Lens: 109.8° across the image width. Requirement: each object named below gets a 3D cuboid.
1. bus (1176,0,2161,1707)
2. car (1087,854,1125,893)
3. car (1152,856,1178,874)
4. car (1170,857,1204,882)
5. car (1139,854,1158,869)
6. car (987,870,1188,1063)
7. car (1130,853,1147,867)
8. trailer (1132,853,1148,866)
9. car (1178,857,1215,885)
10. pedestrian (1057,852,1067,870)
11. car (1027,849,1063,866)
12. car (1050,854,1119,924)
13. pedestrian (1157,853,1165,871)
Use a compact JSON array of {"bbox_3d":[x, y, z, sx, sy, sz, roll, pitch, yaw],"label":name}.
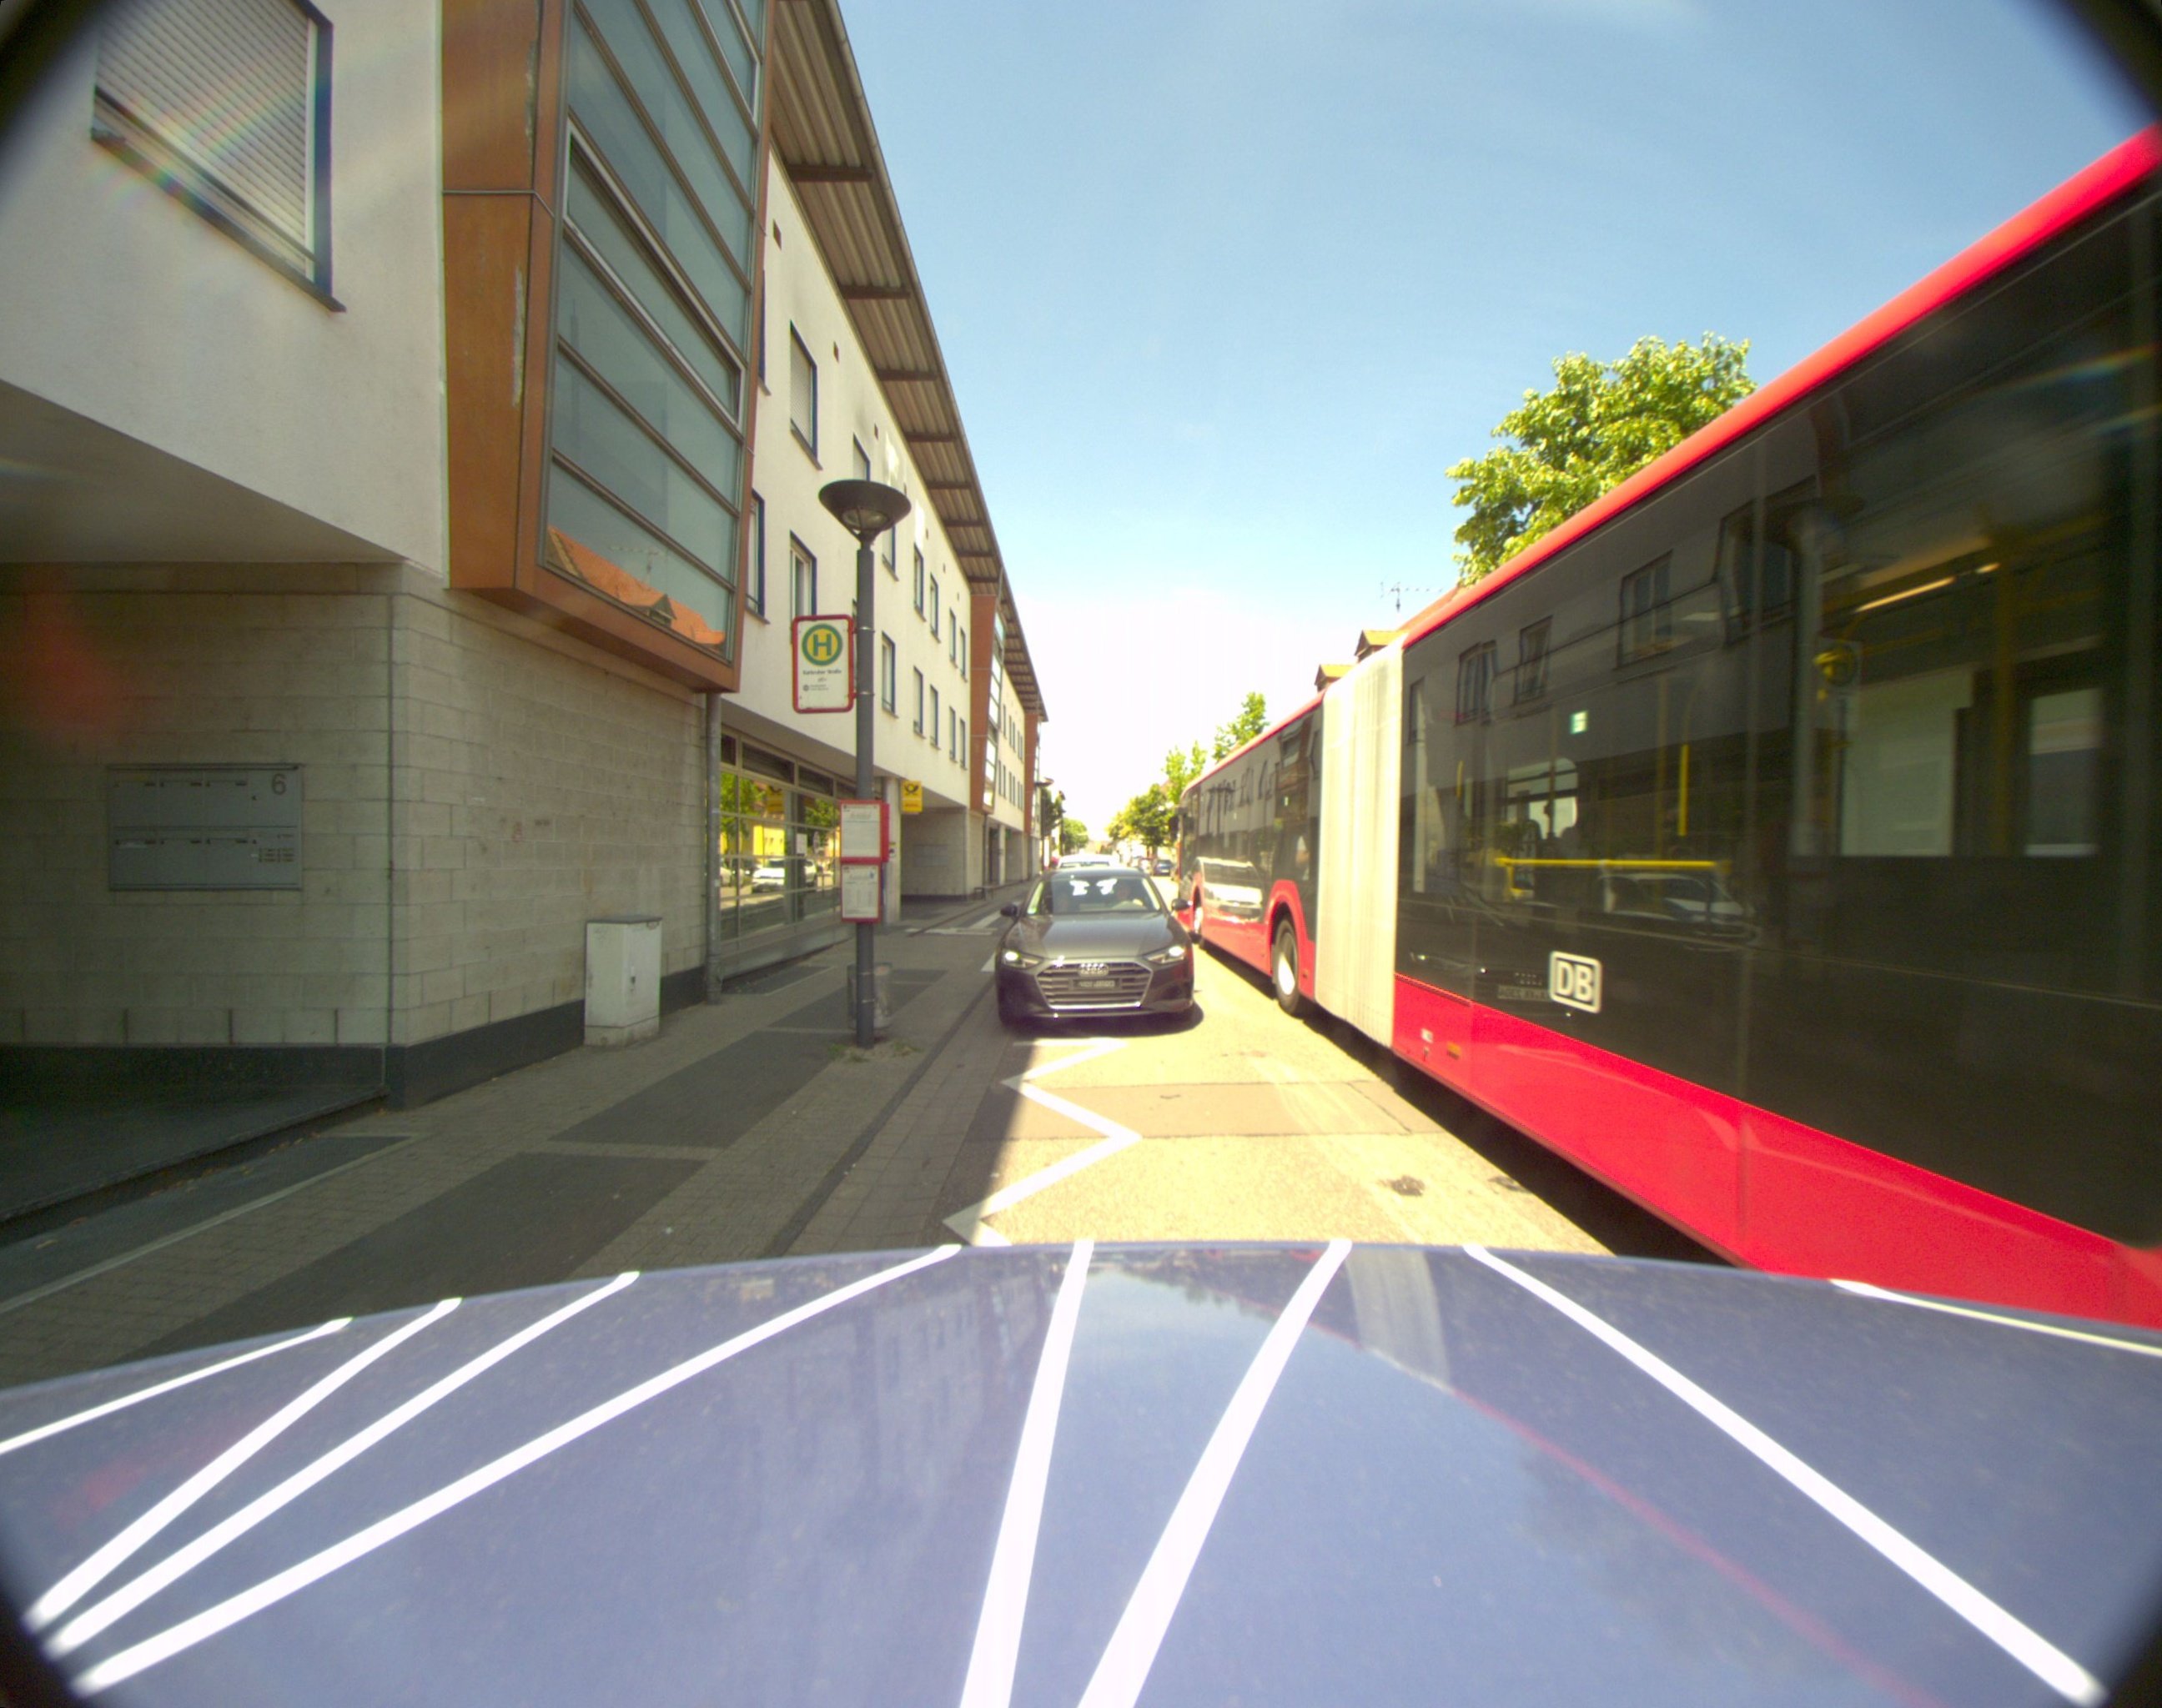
[{"bbox_3d":[3.155,0.103,5.851,2.675,3.105,17.806,0,0,0],"label":"bus"},{"bbox_3d":[1.088,0.820,34.081,1.581,1.620,4.065,1,0,1],"label":"car"},{"bbox_3d":[6.681,0.867,60.836,1.660,1.399,4.158,0,0,1],"label":"car"},{"bbox_3d":[6.690,0.949,48.330,1.649,1.422,4.099,1,0,1],"label":"car"},{"bbox_3d":[7.168,0.811,80.693,1.753,1.566,4.158,0,0,1],"label":"car"},{"bbox_3d":[0.070,0.955,8.168,1.581,1.424,4.065,-2,0,1],"label":"car"},{"bbox_3d":[7.332,0.751,97.382,1.695,1.742,3.999,-2,0,-1],"label":"car"},{"bbox_3d":[7.232,0.669,93.263,1.493,1.571,3.883,-3,0,-1],"label":"trailer"},{"bbox_3d":[6.372,0.913,42.193,1.557,1.422,3.410,1,0,1],"label":"car"},{"bbox_3d":[-1.706,0.672,69.480,0.825,1.579,0.919,3,1,1],"label":"pedestrian"},{"bbox_3d":[-4.227,0.414,90.012,4.203,1.849,2.000,1,0,0],"label":"car"},{"bbox_3d":[0.103,0.824,19.764,1.581,1.620,4.065,1,0,1],"label":"car"},{"bbox_3d":[7.340,0.742,69.522,0.631,1.592,0.528,0,1,1],"label":"pedestrian"}]
